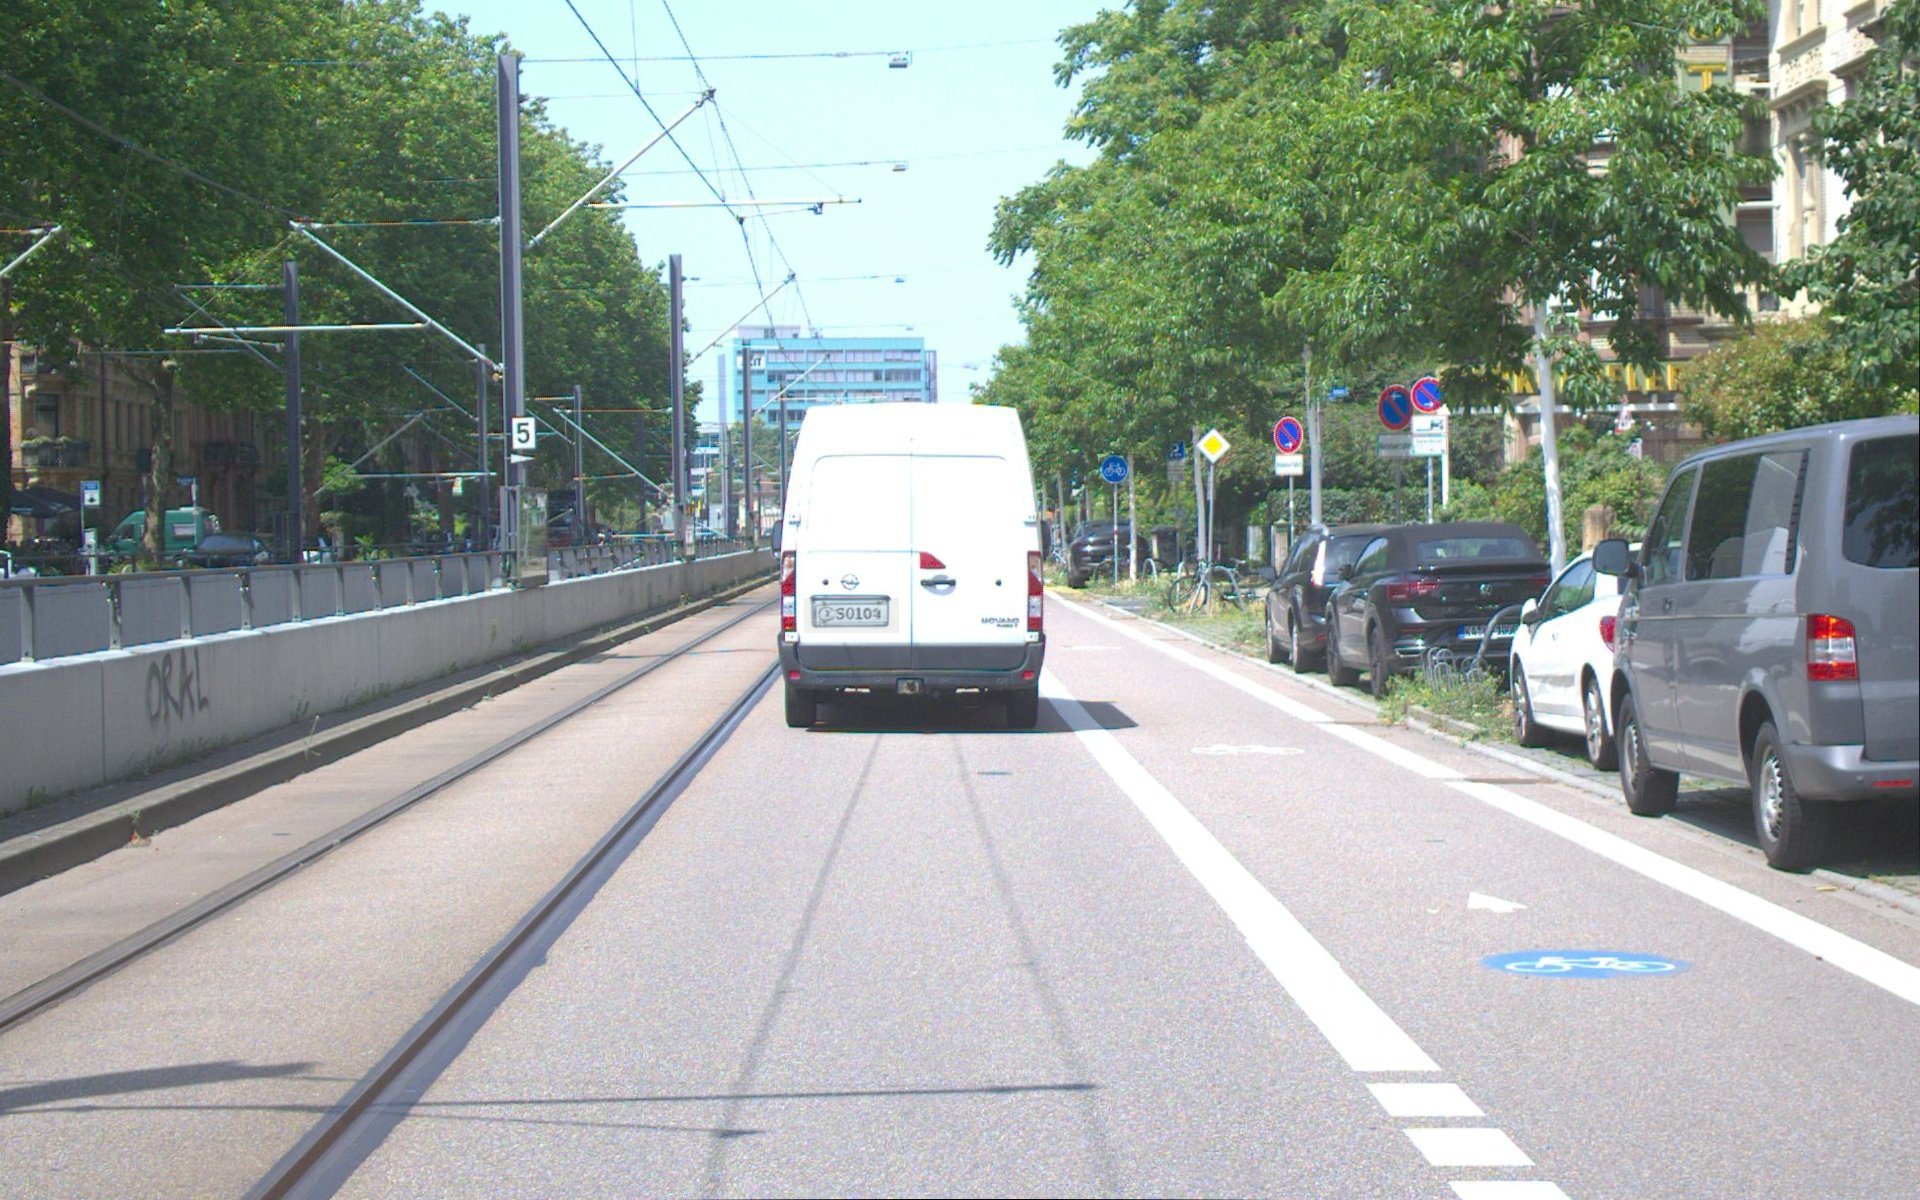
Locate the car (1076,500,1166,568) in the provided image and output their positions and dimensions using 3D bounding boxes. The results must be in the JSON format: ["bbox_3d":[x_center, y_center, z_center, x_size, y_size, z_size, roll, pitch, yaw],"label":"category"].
[{"bbox_3d":[4.007,-1.667,86.017,2.157,1.664,4.000,0,1,1],"label":"car"}]

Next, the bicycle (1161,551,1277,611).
[{"bbox_3d":[4.232,-0.315,56.235,1.842,0.950,0.503,-1,1,1],"label":"bicycle"}]

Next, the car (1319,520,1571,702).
[{"bbox_3d":[4.360,0.046,31.422,1.667,1.525,4.013,-1,1,-1],"label":"car"}]

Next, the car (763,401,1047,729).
[{"bbox_3d":[-0.492,-0.324,28.286,2.117,2.450,5.055,0,1,-2],"label":"car"}]

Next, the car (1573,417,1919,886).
[{"bbox_3d":[4.414,0.131,16.751,1.879,1.941,4.837,-2,1,-1],"label":"car"}]

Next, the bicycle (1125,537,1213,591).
[{"bbox_3d":[4.638,-0.795,76.417,1.887,1.178,0.640,0,1,-2],"label":"bicycle"}]

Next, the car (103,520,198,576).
[{"bbox_3d":[-21.496,-1.404,91.399,1.592,1.443,4.000,0,1,0],"label":"car"}]

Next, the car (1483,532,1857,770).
[{"bbox_3d":[4.633,0.273,22.961,1.611,1.401,4.000,-1,1,-1],"label":"car"}]

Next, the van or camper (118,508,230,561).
[{"bbox_3d":[-30.748,-2.569,134.566,3.986,2.007,2.000,-1,1,-3],"label":"van or camper"}]

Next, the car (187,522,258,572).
[{"bbox_3d":[-21.318,-1.536,99.479,1.373,1.419,3.088,-1,1,0],"label":"car"}]

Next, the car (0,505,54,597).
[{"bbox_3d":[-20.707,-1.047,72.927,1.993,1.898,4.149,0,1,-2],"label":"car"}]

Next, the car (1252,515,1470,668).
[{"bbox_3d":[4.235,-0.141,36.899,1.729,1.530,4.405,0,1,-1],"label":"car"}]

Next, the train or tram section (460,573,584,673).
[{"bbox_3d":[-12.031,0.573,95.058,2.729,2.500,8.518,0,1,-3],"label":"train or tram section"}]
